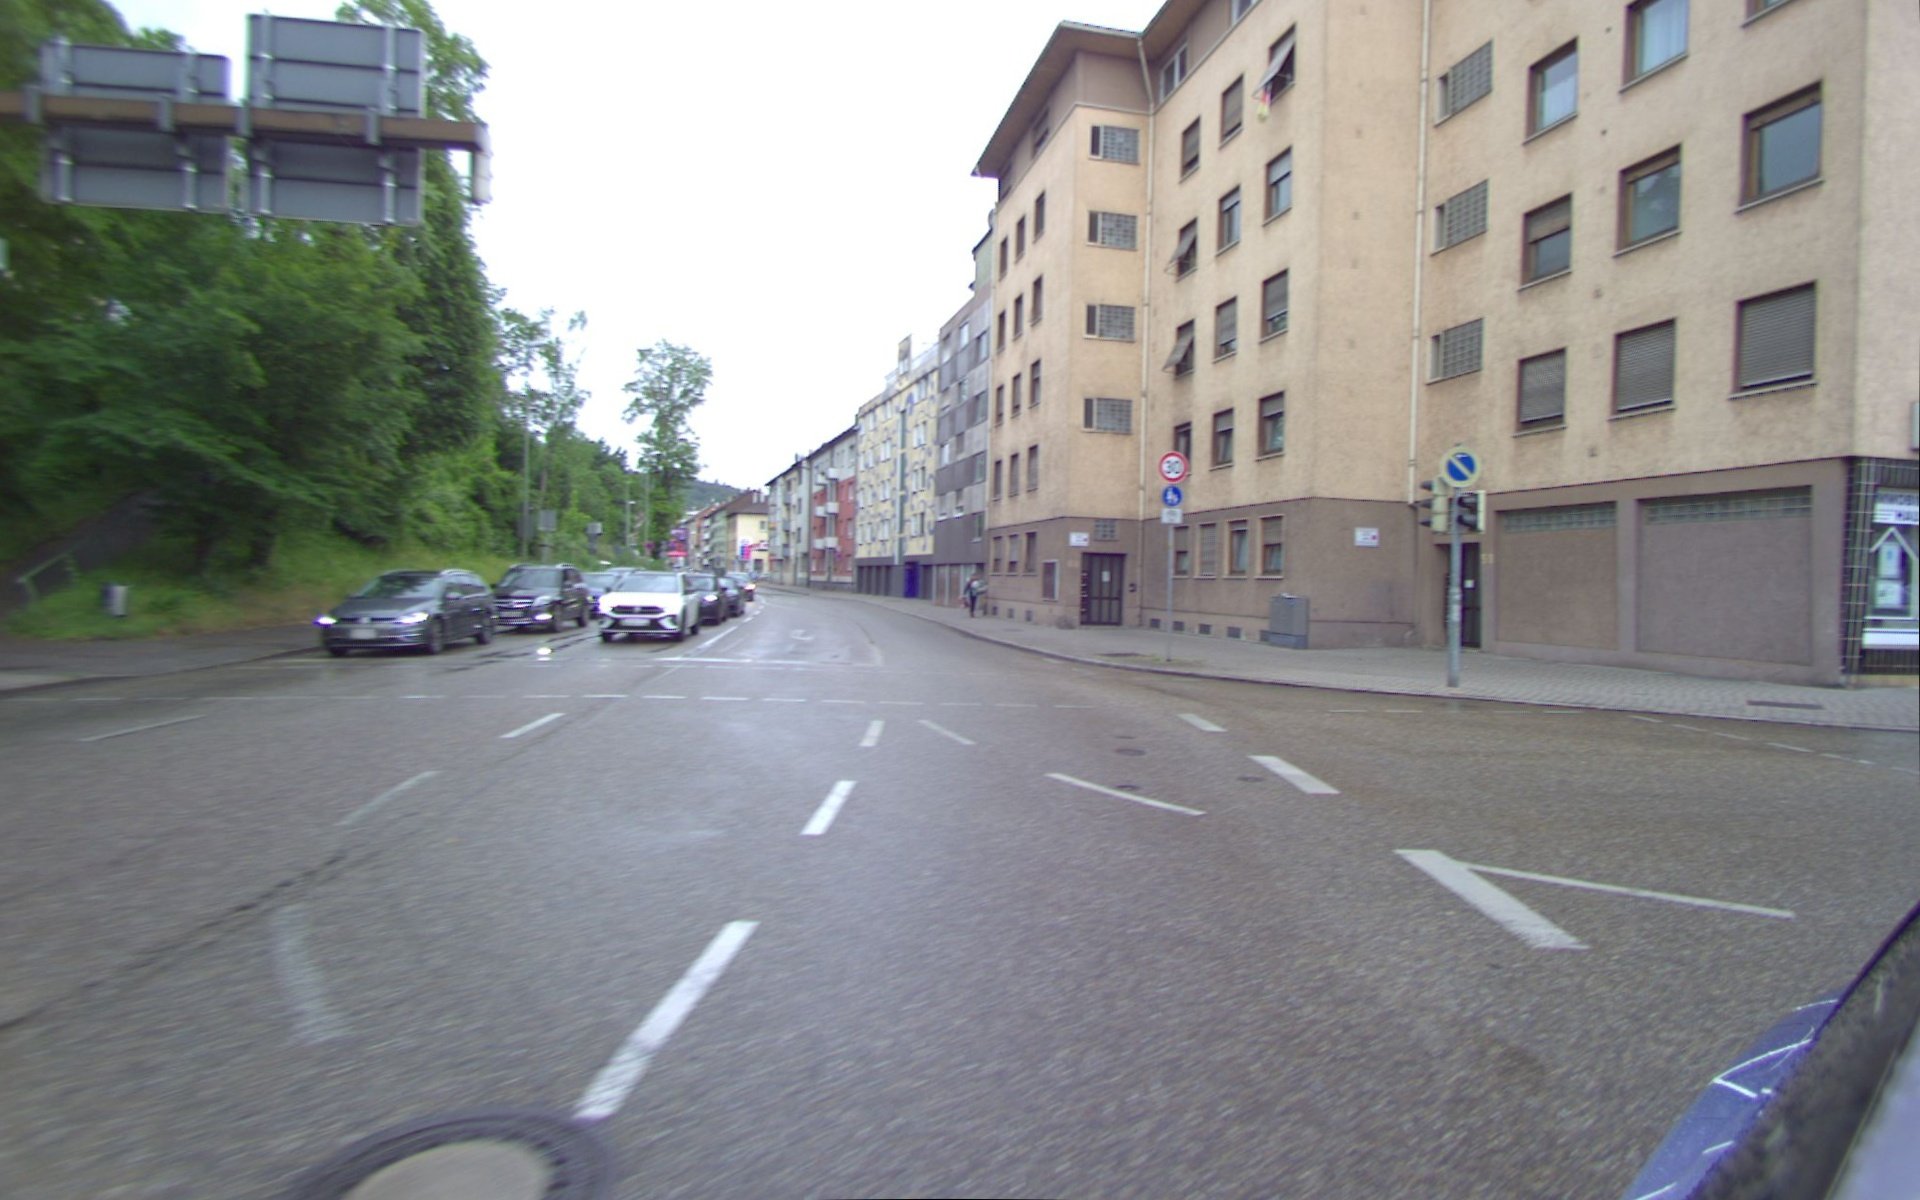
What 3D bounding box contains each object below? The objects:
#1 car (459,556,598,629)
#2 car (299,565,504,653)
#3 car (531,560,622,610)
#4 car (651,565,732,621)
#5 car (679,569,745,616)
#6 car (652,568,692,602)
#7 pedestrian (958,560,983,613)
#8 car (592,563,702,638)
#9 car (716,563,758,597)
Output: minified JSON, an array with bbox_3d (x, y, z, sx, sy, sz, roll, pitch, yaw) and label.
[{"bbox_3d":[-10.577,-0.238,25.205,1.959,1.636,4.627,0,2,-7],"label":"car"},{"bbox_3d":[-10.023,0.086,18.566,1.783,1.426,4.238,0,2,-6],"label":"car"},{"bbox_3d":[-12.261,-0.507,32.665,1.958,1.496,4.629,0,2,-10],"label":"car"},{"bbox_3d":[-7.830,-0.259,29.837,1.881,1.496,4.628,0,2,-9],"label":"car"},{"bbox_3d":[-8.524,-0.300,35.162,1.958,1.496,4.629,0,2,-10],"label":"car"},{"bbox_3d":[-15.041,-0.804,52.943,1.647,1.676,4.008,0,1,-11],"label":"car"},{"bbox_3d":[0.389,-0.529,39.444,0.794,2.039,0.860,0,0,-12],"label":"pedestrian"},{"bbox_3d":[-6.890,-0.046,22.696,1.840,1.496,4.563,0,2,-10],"label":"car"},{"bbox_3d":[-11.569,-1.078,52.708,1.959,1.682,4.008,0,1,-10],"label":"car"}]
